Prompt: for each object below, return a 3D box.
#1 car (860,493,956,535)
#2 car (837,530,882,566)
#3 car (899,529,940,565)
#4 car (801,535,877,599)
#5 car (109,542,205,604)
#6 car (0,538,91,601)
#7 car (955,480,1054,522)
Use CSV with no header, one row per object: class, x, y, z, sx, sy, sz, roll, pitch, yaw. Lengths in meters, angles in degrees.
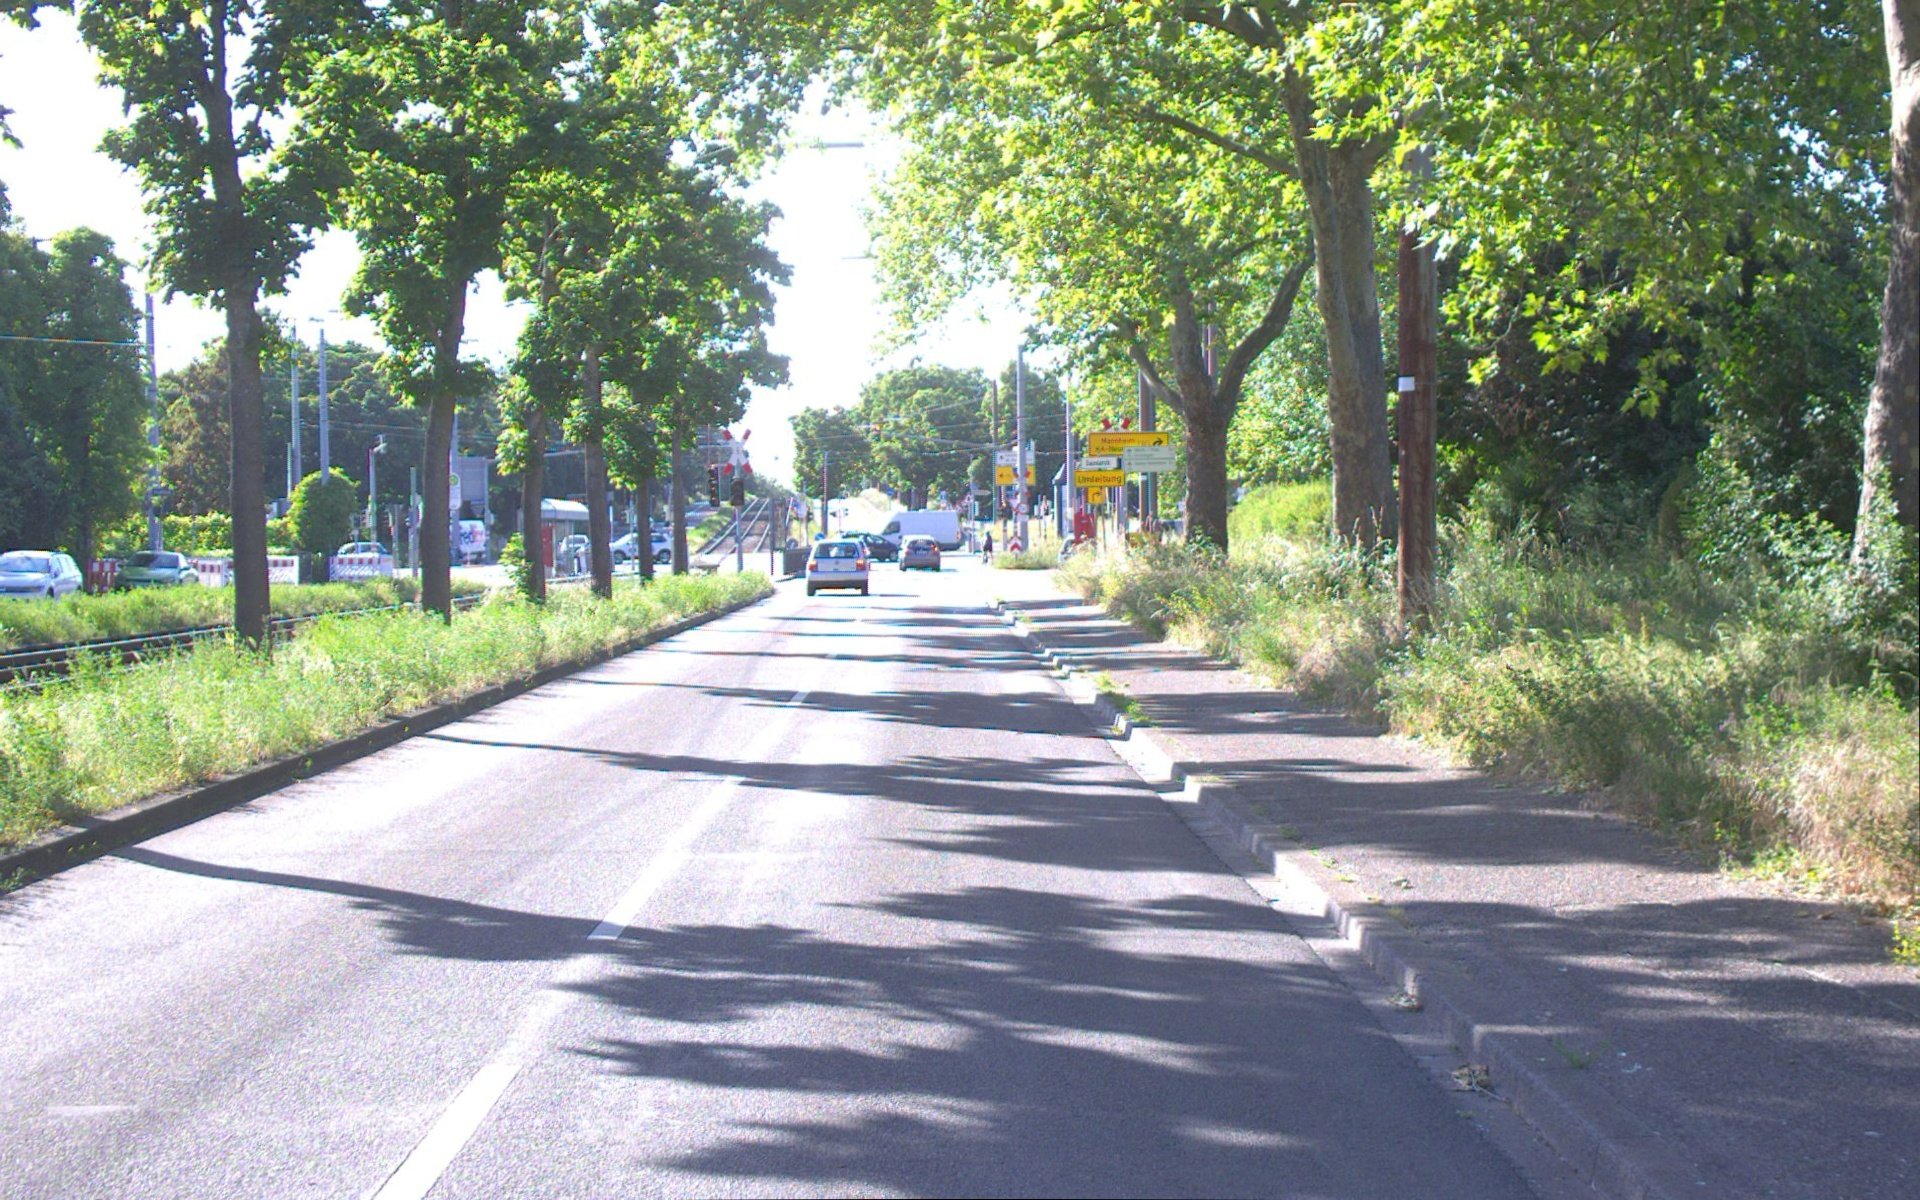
car,-2.983,-4.962,198.084,5.243,2.346,1.866,0,1,-27
car,-4.577,-2.379,157.764,1.993,1.598,4.474,1,1,-1
car,-1.815,-2.341,152.584,1.791,1.553,4.228,1,1,-1
car,-3.131,-0.880,89.598,1.860,1.595,4.228,1,1,-1
car,-22.714,-0.773,97.311,1.778,1.701,4.228,1,1,-1
car,-22.252,-0.749,82.252,1.860,1.426,4.462,1,1,-1
car,2.479,-5.484,190.762,5.147,2.267,2.001,0,1,-24
